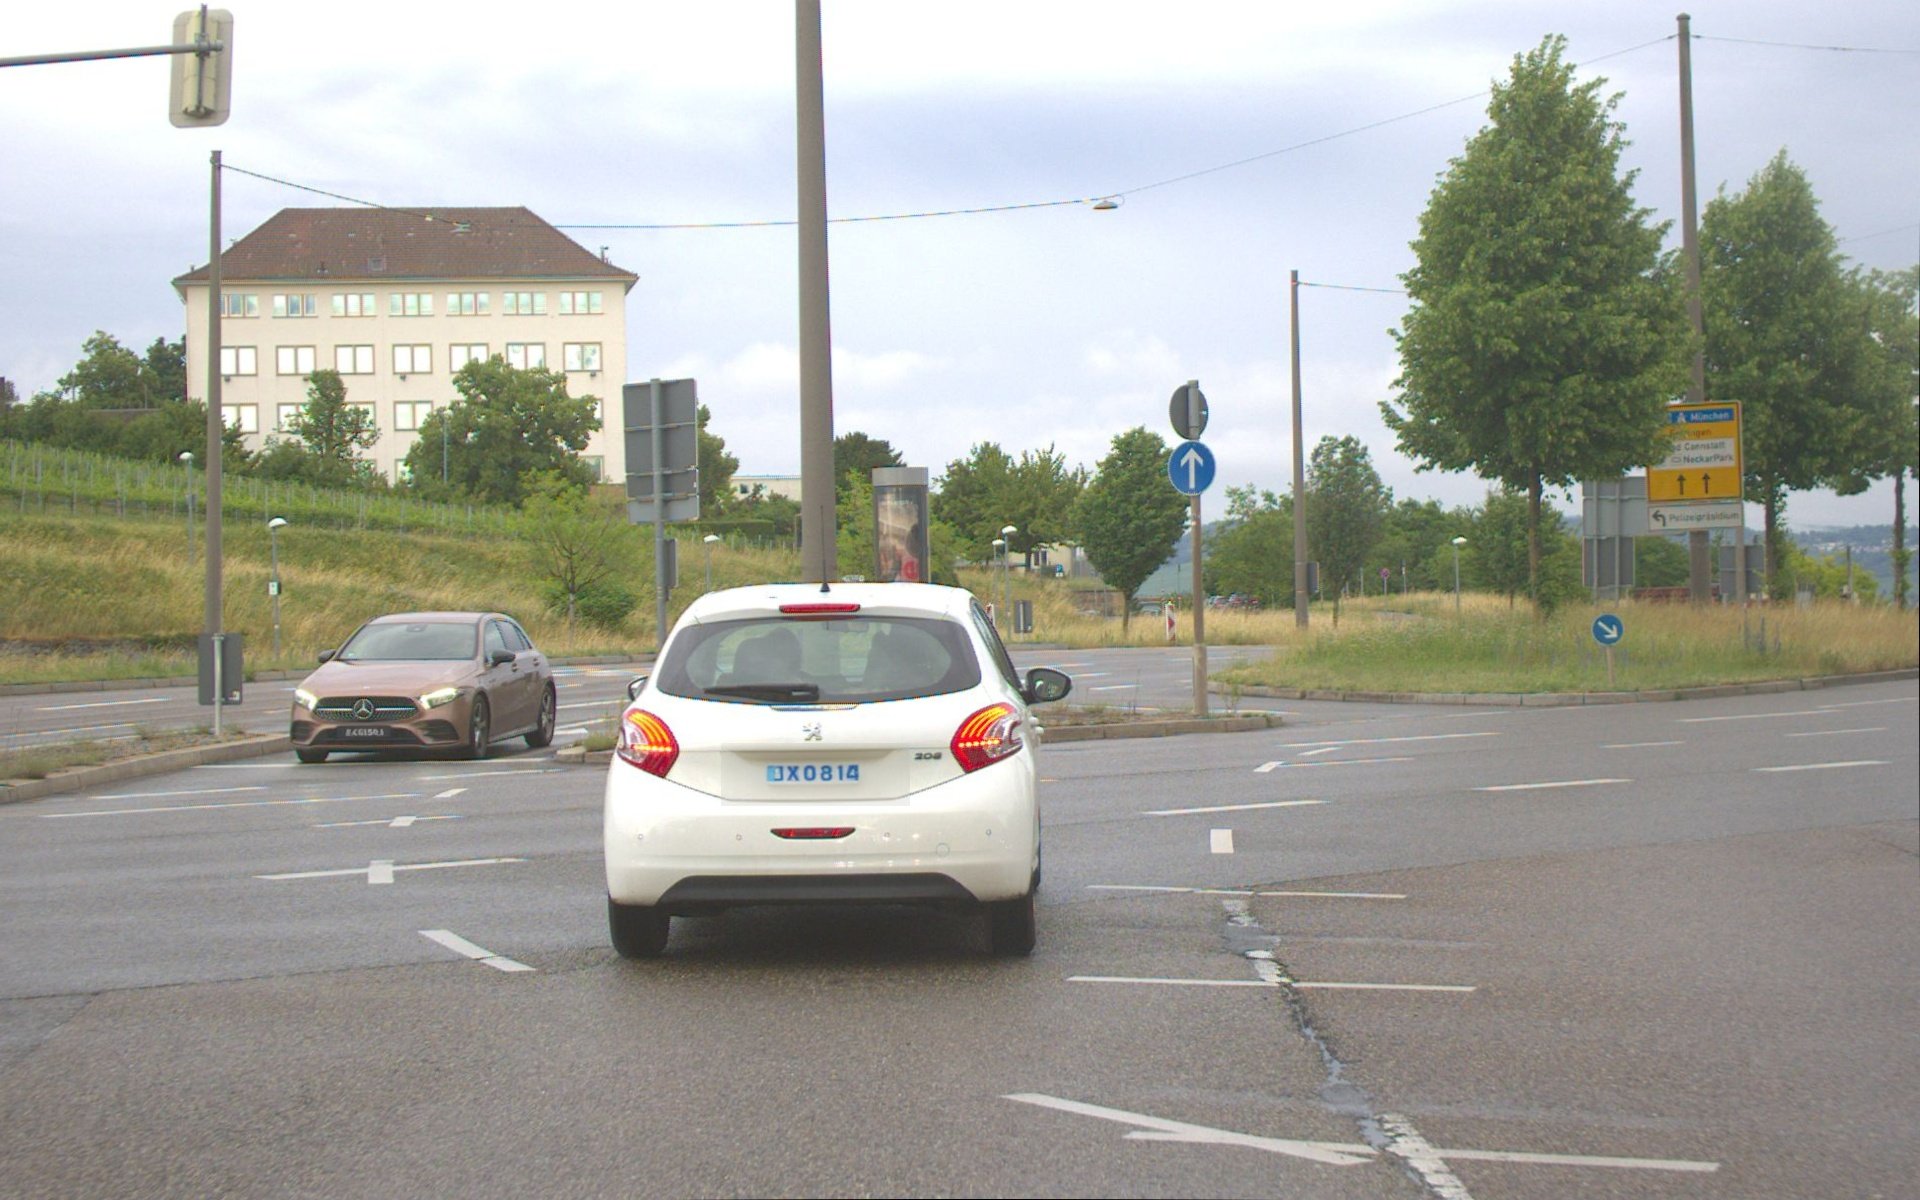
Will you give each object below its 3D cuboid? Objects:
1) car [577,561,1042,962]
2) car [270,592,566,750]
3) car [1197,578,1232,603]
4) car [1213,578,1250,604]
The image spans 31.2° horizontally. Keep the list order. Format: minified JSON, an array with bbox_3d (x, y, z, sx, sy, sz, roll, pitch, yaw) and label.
[{"bbox_3d":[-0.515,0.591,14.823,1.718,1.484,4.000,0,0,2],"label":"car"},{"bbox_3d":[-5.306,0.660,34.229,1.776,1.420,4.373,-1,0,7],"label":"car"},{"bbox_3d":[16.011,-0.608,216.353,1.841,1.481,4.000,-1,1,-1],"label":"car"},{"bbox_3d":[16.419,-0.551,207.950,1.841,1.481,4.000,-1,1,-1],"label":"car"}]
